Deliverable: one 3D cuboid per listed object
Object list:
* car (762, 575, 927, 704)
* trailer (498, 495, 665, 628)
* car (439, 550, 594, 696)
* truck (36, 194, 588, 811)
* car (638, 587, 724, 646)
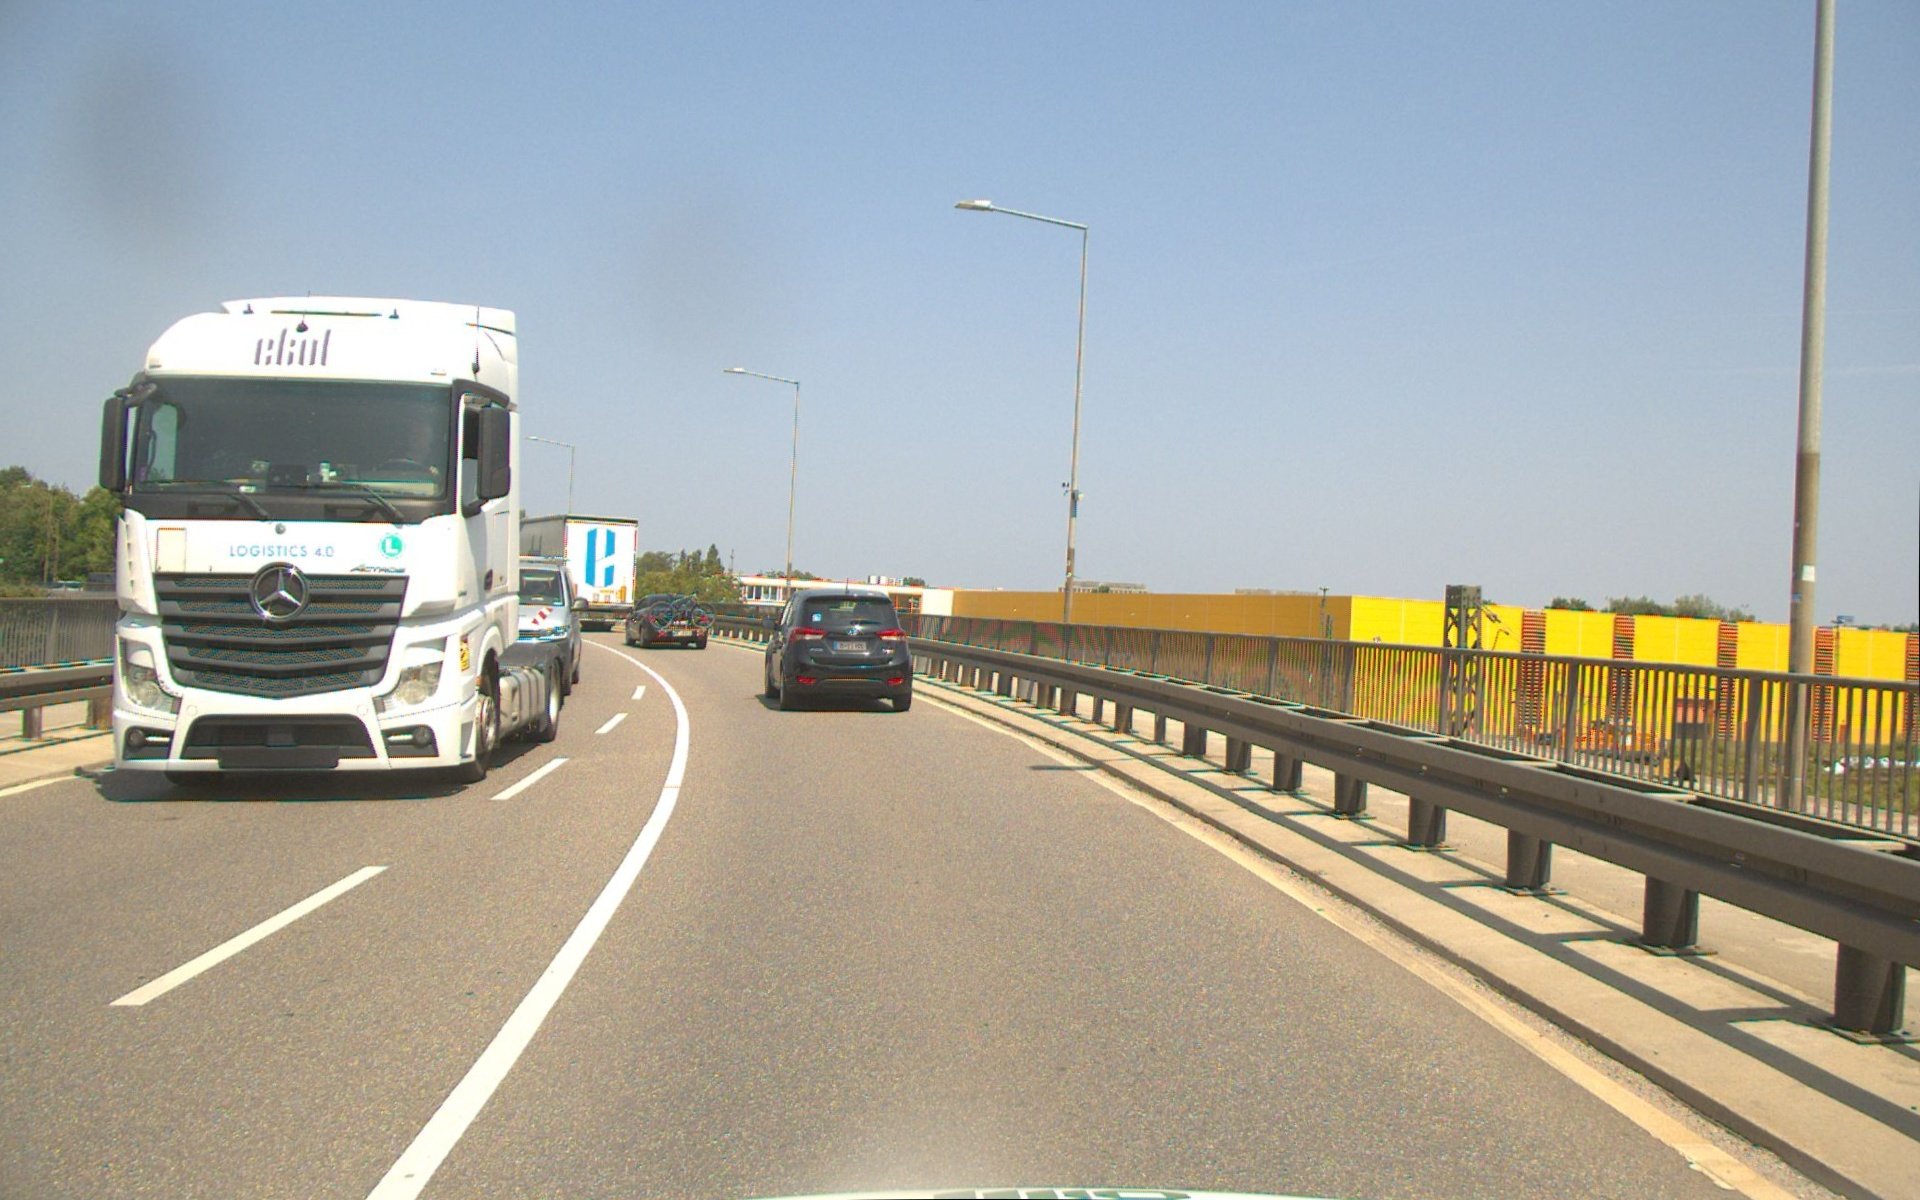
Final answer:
[{"bbox_3d":[-1.700,0.496,23.105,1.886,1.601,3.882,2,0,-10],"label":"car"},{"bbox_3d":[-14.433,-1.373,62.120,3.526,4.460,11.344,2,0,-26],"label":"trailer"},{"bbox_3d":[-6.837,0.322,25.920,1.827,2.034,4.803,-1,0,-9],"label":"car"},{"bbox_3d":[-5.035,-0.651,14.213,2.653,4.061,6.179,2,0,-5],"label":"truck"},{"bbox_3d":[-7.495,0.411,44.179,1.977,1.454,3.763,2,0,-14],"label":"car"}]
